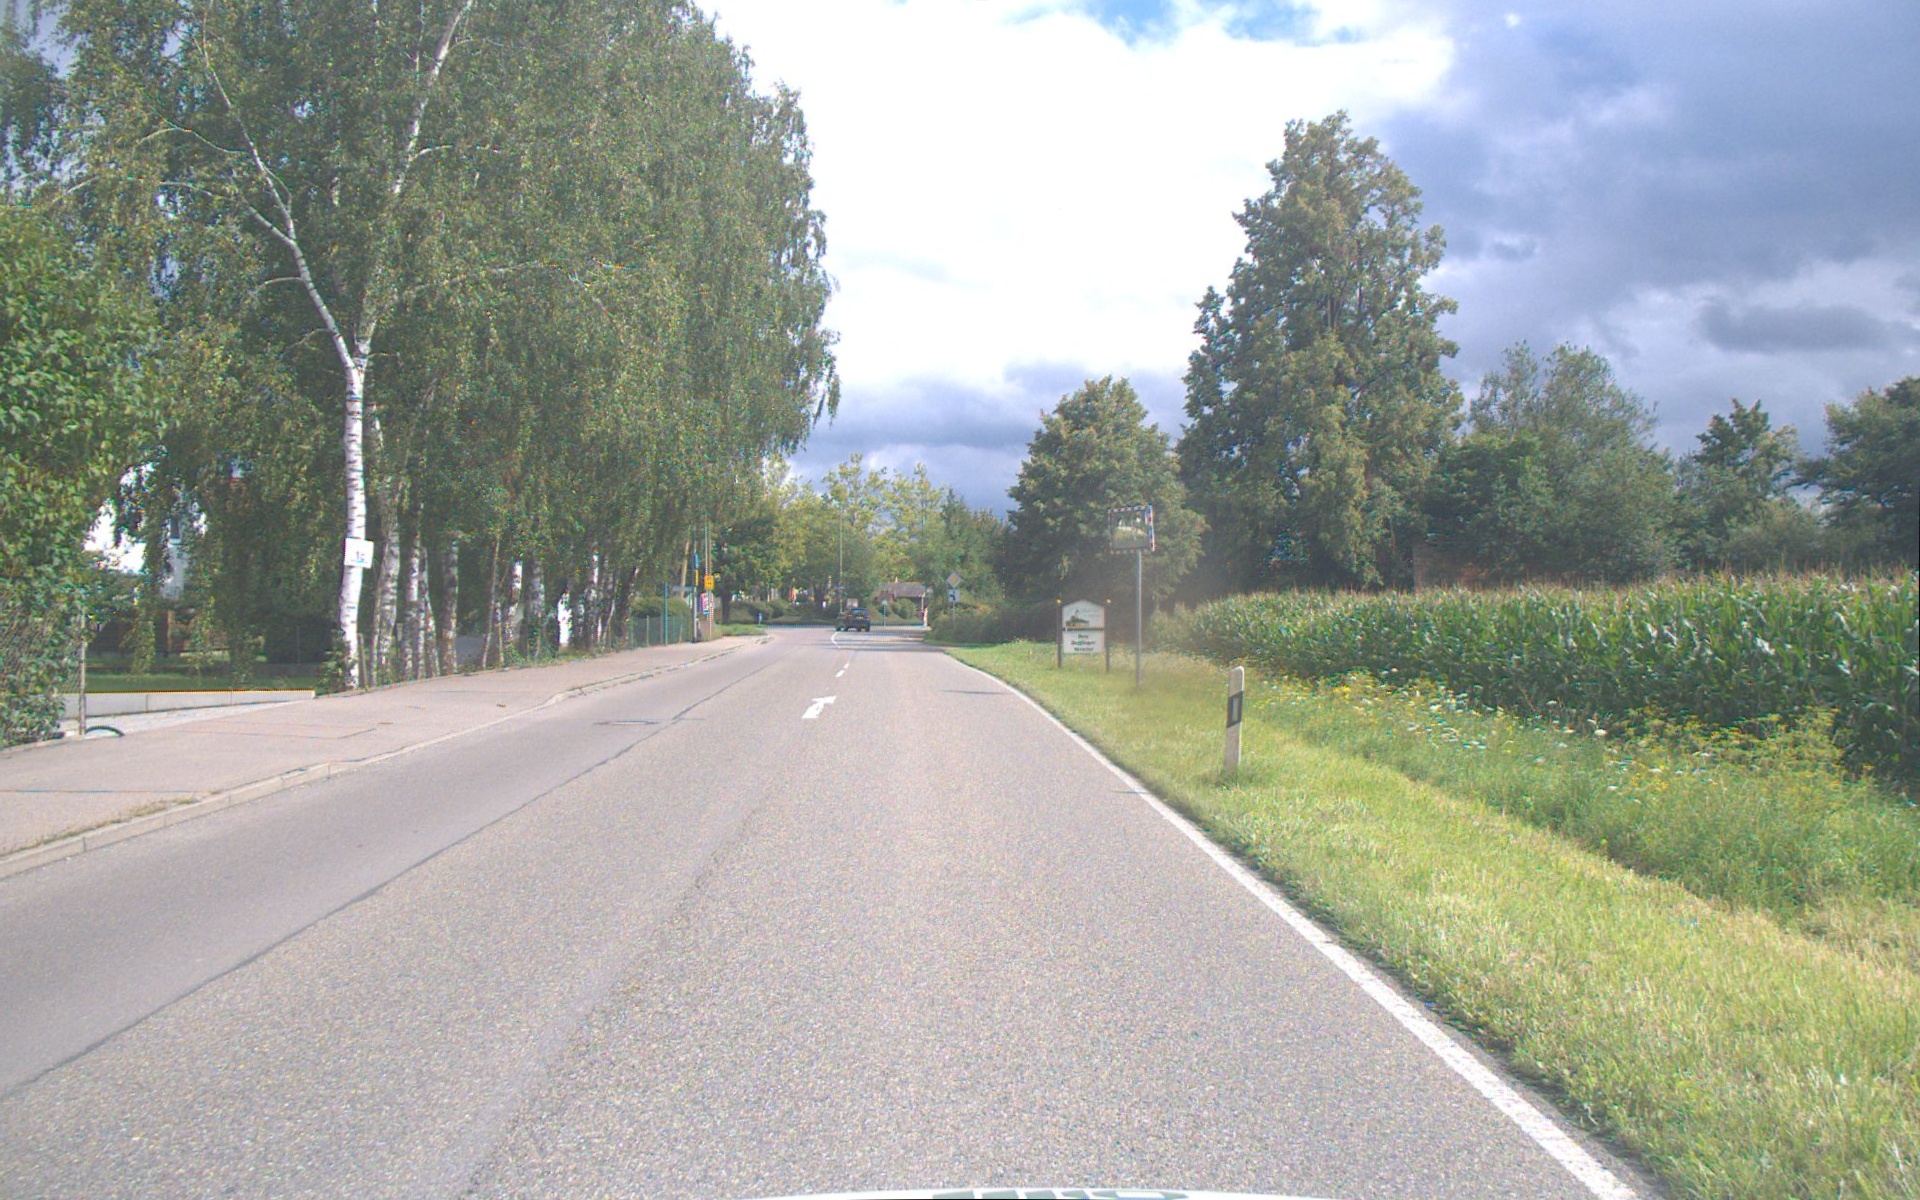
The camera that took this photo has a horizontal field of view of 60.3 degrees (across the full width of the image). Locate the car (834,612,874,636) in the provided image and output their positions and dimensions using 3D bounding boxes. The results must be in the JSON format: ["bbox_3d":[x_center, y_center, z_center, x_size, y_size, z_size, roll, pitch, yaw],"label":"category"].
[{"bbox_3d":[-7.603,1.712,118.148,1.963,1.612,3.979,0,0,-18],"label":"car"}]
